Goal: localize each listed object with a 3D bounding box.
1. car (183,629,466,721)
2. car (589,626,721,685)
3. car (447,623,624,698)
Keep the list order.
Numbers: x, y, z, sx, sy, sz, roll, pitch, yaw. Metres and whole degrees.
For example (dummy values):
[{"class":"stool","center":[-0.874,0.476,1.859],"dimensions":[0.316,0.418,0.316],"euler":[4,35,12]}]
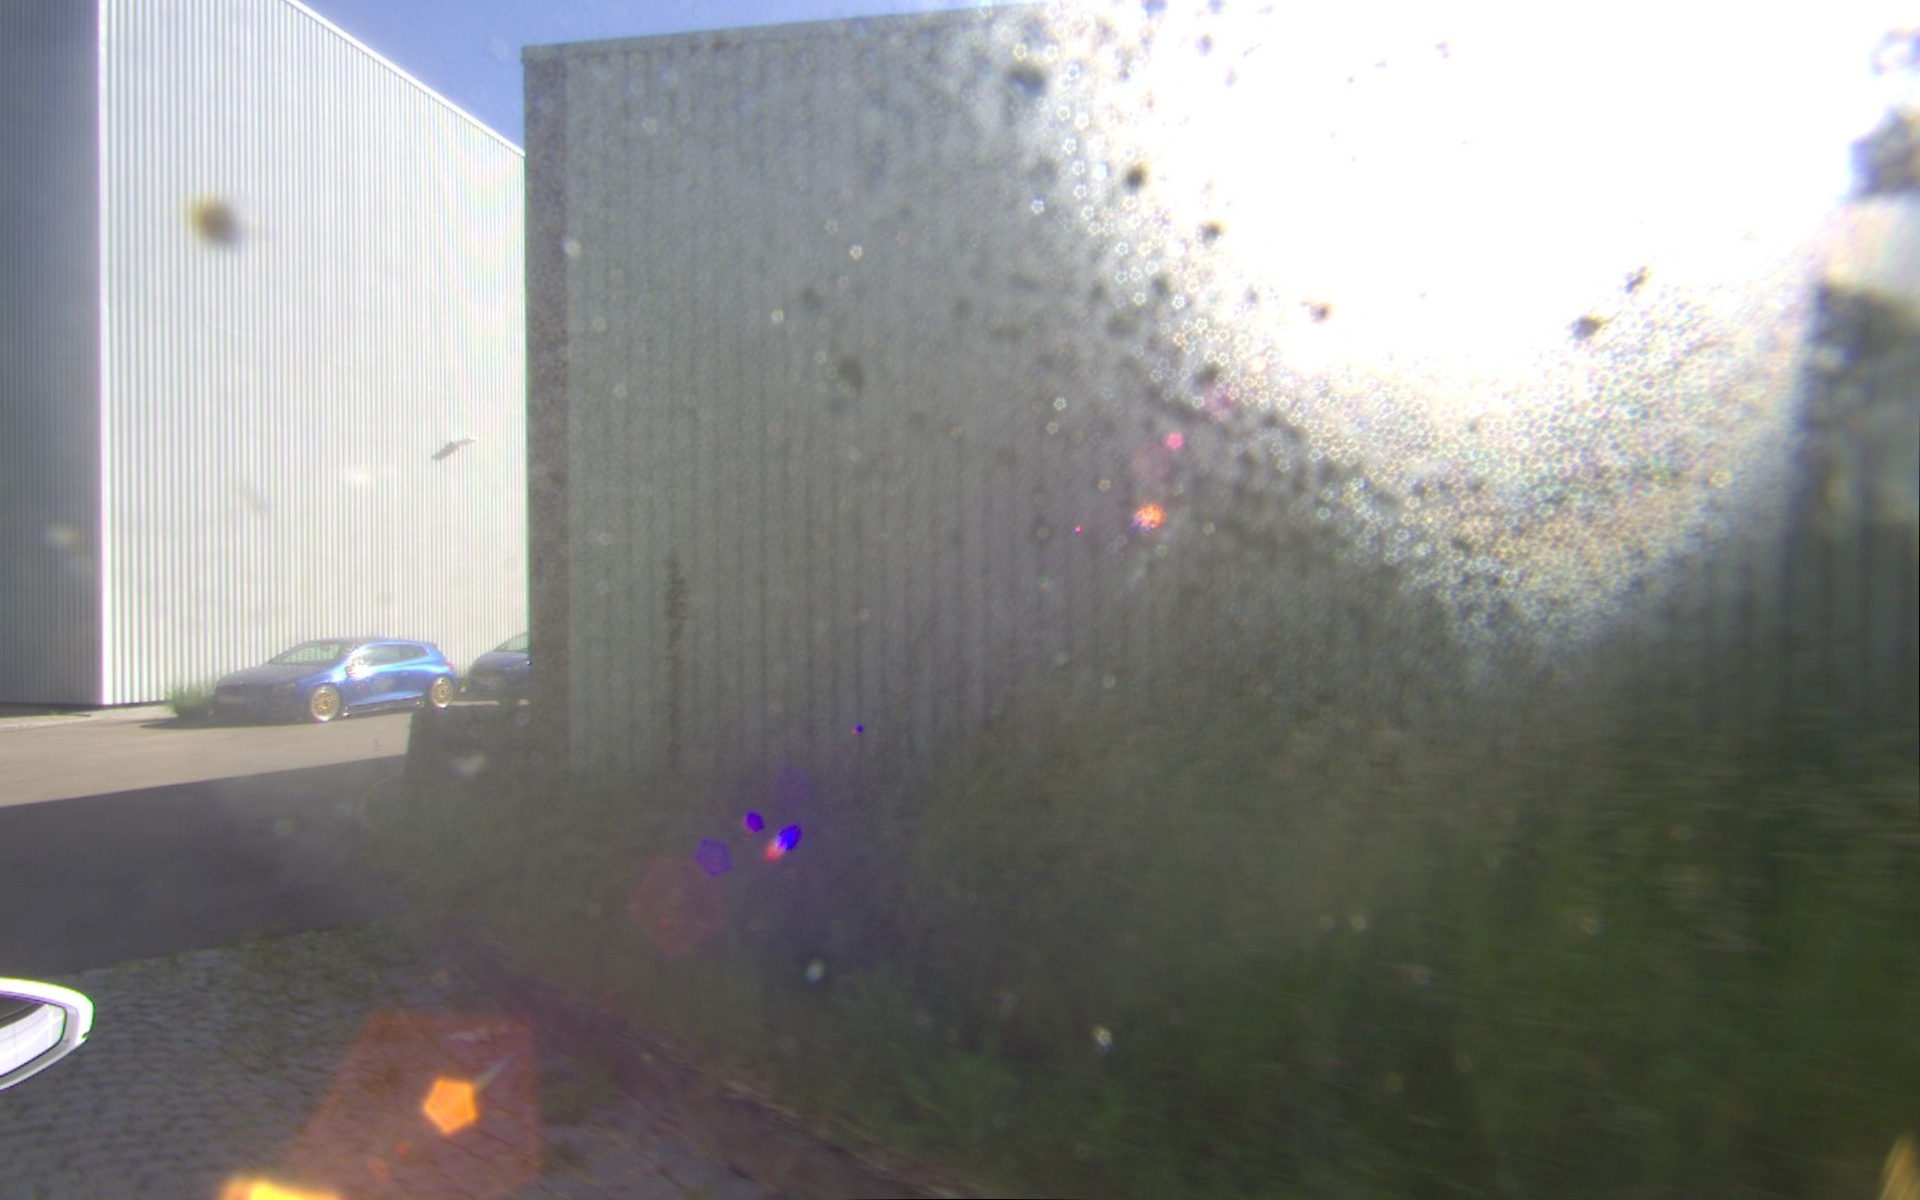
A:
[{"class":"car","center":[-10.950,1.225,17.654],"dimensions":[1.722,1.402,4.166],"euler":[0,-2,14]},{"class":"car","center":[-8.345,1.474,27.767],"dimensions":[1.722,1.436,3.895],"euler":[2,-1,14]},{"class":"car","center":[-9.625,1.316,23.048],"dimensions":[1.722,1.492,3.895],"euler":[2,-1,14]}]
